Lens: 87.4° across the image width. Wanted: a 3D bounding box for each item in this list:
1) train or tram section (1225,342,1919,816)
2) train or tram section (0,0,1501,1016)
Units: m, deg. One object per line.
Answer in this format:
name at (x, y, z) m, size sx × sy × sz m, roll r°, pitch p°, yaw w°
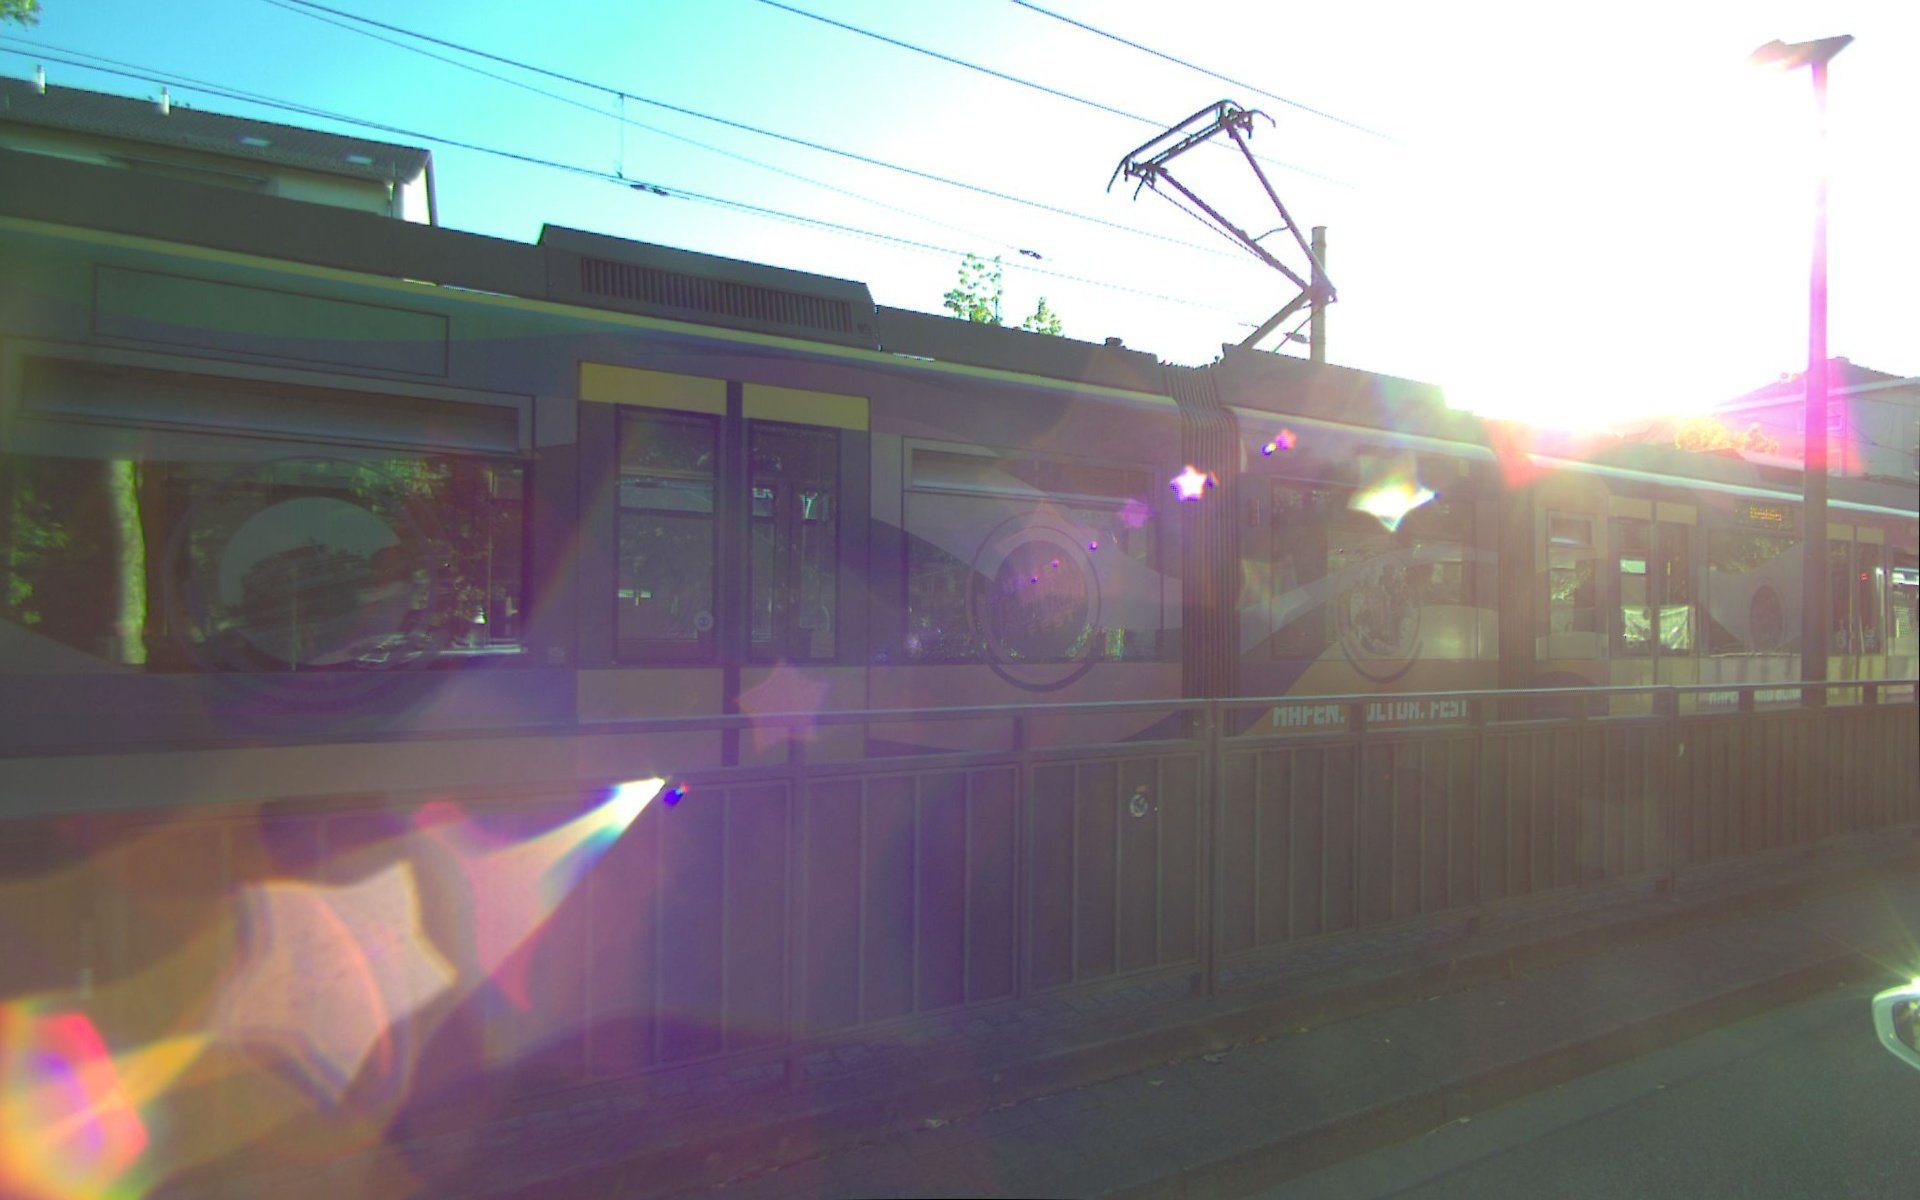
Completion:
train or tram section at (9.002, 0.004, 11.871) m, size 13.169 × 3.566 × 2.630 m, roll 1°, pitch -1°, yaw -29°
train or tram section at (-2.107, -0.292, 5.713) m, size 12.627 × 3.596 × 2.717 m, roll 1°, pitch -1°, yaw -29°
